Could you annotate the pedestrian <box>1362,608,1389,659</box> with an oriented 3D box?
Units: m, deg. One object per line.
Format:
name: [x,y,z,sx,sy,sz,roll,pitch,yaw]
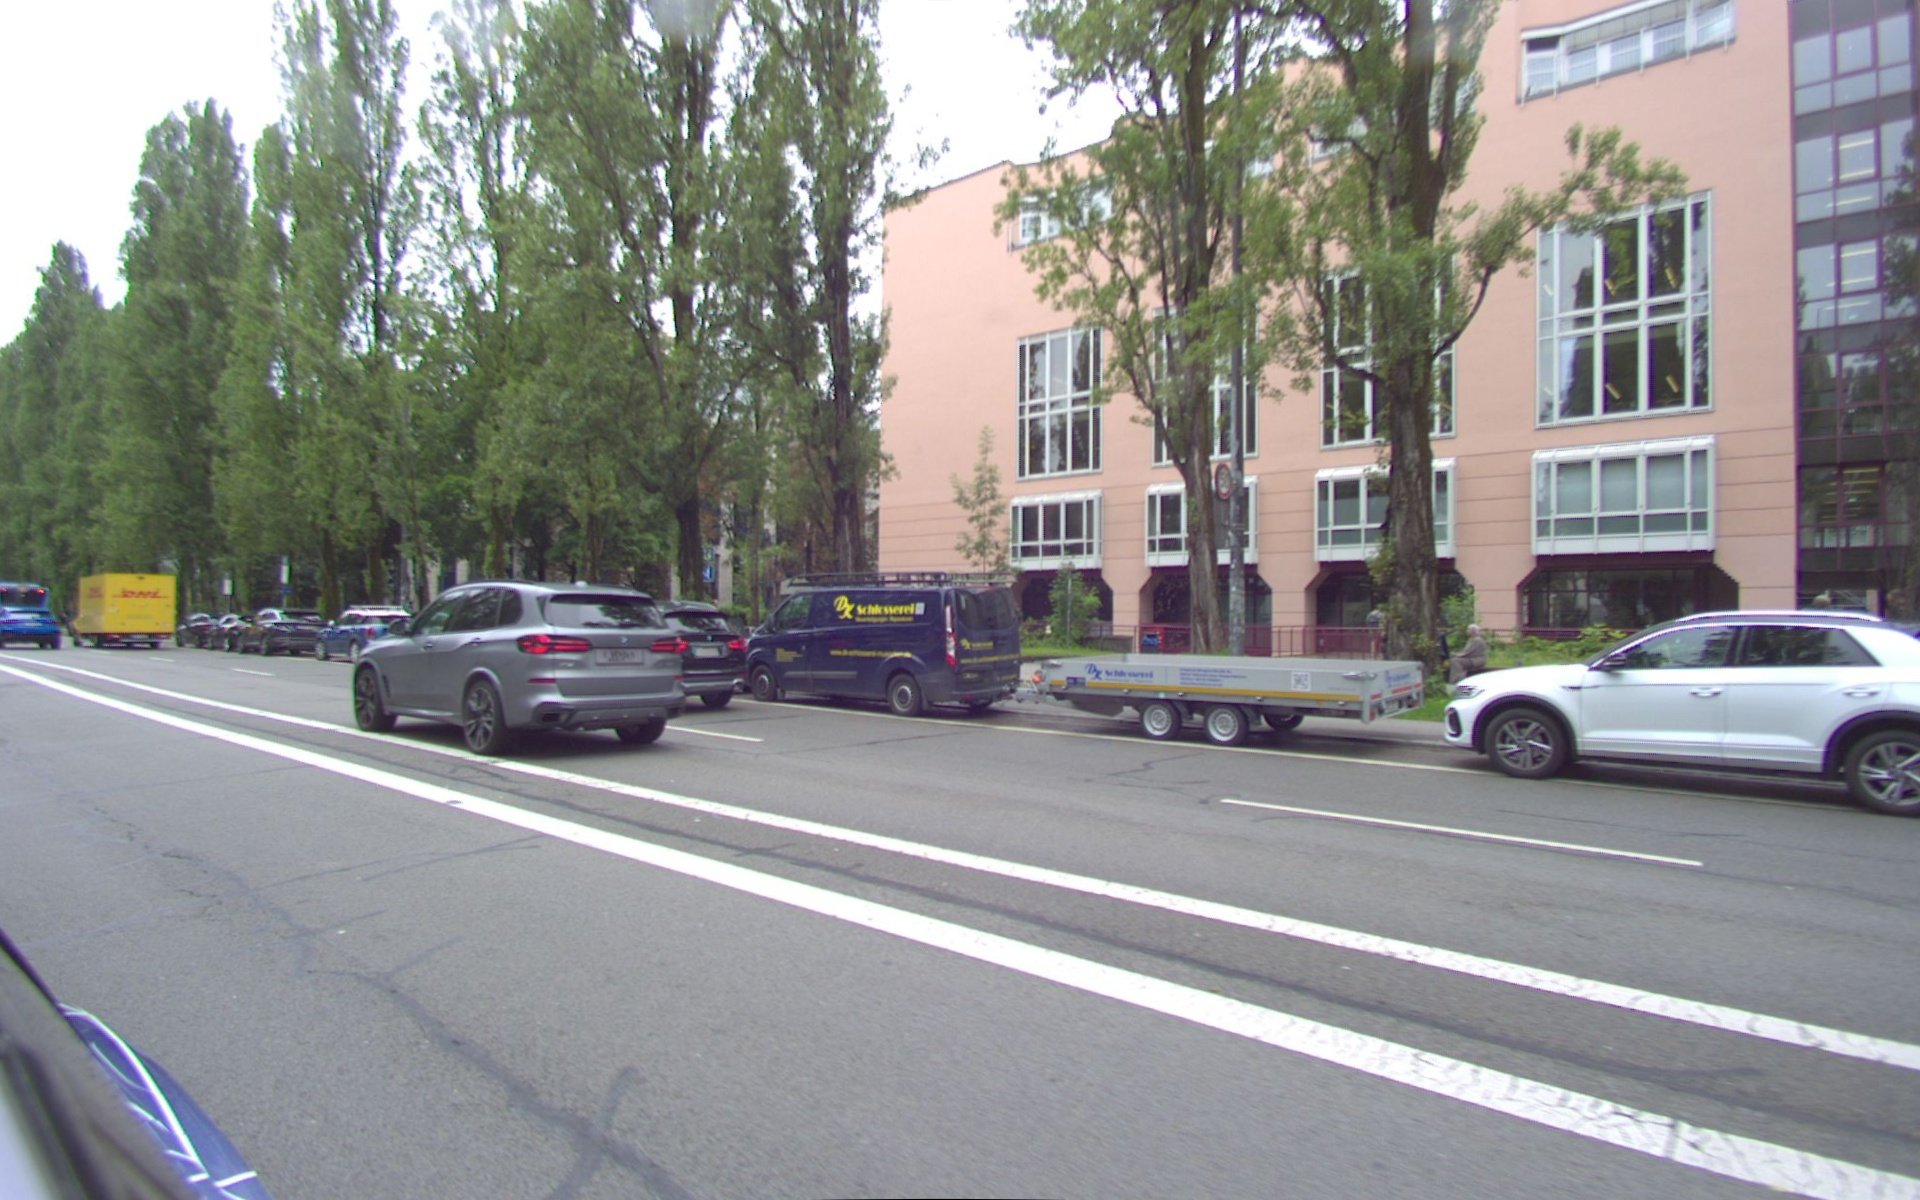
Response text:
pedestrian: [14.304,1.146,34.832,0.648,1.704,0.666,-1,-2,42]

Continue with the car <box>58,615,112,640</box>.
car: [-50.865,1.583,58.814,3.879,1.423,1.769,-1,-1,40]

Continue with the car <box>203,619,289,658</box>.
car: [-26.995,1.414,38.230,3.879,1.423,1.769,-1,-1,40]

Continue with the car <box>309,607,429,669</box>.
car: [-17.878,1.131,30.551,4.074,1.745,1.770,-1,-3,39]

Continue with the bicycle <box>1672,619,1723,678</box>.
bicycle: [14.800,0.947,20.300,0.675,1.133,1.962,-1,-2,40]

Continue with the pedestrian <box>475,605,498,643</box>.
pedestrian: [-21.728,1.090,46.464,0.731,1.726,0.699,-1,-2,41]

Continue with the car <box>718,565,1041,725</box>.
car: [-1.477,0.672,16.568,5.493,2.214,1.996,-1,-1,41]

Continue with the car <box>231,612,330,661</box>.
car: [-23.567,1.227,35.065,4.234,1.613,1.769,-1,-1,41]

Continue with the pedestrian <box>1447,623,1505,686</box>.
pedestrian: [10.036,1.044,19.696,0.720,1.196,0.711,0,-1,-11]

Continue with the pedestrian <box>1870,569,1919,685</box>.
pedestrian: [13.507,0.382,14.400,0.549,1.617,0.660,1,-2,-30]

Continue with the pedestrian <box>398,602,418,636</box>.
pedestrian: [-28.529,0.974,52.309,0.731,1.726,0.699,-1,-2,41]

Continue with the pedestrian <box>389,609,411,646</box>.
pedestrian: [-26.221,1.266,47.398,0.731,1.726,0.699,-1,-2,41]

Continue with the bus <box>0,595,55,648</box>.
bus: [-58.405,1.335,62.603,8.518,3.075,2.885,-2,-2,43]

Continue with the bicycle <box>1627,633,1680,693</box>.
bicycle: [14.190,1.260,20.691,0.675,1.133,1.962,-1,-2,40]

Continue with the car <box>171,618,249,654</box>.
car: [-31.136,1.453,41.972,3.879,1.423,1.769,-1,-1,40]

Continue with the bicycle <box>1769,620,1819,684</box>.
bicycle: [15.859,0.960,19.232,0.675,1.133,1.962,-1,-2,40]

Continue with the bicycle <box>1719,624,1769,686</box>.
bicycle: [15.228,1.046,19.636,0.675,1.133,1.962,-1,-2,40]

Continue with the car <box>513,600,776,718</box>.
car: [-5.218,0.897,16.459,4.548,1.655,1.973,-1,-3,41]

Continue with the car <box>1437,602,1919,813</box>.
car: [6.767,0.852,9.017,4.233,1.553,1.781,-2,-3,42]

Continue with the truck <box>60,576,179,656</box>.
truck: [-33.770,0.631,40.549,7.077,2.930,2.566,-1,-1,41]

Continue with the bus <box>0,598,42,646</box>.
bus: [-64.480,1.481,68.248,9.795,3.075,2.886,-2,-2,43]

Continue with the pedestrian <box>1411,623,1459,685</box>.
pedestrian: [9.440,1.062,20.102,0.731,1.196,0.700,-1,-1,38]

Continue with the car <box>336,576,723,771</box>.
car: [-4.938,0.704,11.294,4.754,1.729,1.974,-1,-2,39]

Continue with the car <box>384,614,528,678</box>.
car: [-13.332,1.153,26.649,4.511,1.540,1.769,-1,-1,41]

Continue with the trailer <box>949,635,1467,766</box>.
trailer: [2.878,1.092,12.897,6.035,1.208,2.372,-1,-1,41]

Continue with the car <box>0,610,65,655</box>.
car: [-35.138,1.195,37.849,4.419,1.591,1.847,-1,-3,40]

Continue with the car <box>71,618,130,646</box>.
car: [-45.112,1.672,53.074,3.879,1.423,1.769,-1,-1,40]
